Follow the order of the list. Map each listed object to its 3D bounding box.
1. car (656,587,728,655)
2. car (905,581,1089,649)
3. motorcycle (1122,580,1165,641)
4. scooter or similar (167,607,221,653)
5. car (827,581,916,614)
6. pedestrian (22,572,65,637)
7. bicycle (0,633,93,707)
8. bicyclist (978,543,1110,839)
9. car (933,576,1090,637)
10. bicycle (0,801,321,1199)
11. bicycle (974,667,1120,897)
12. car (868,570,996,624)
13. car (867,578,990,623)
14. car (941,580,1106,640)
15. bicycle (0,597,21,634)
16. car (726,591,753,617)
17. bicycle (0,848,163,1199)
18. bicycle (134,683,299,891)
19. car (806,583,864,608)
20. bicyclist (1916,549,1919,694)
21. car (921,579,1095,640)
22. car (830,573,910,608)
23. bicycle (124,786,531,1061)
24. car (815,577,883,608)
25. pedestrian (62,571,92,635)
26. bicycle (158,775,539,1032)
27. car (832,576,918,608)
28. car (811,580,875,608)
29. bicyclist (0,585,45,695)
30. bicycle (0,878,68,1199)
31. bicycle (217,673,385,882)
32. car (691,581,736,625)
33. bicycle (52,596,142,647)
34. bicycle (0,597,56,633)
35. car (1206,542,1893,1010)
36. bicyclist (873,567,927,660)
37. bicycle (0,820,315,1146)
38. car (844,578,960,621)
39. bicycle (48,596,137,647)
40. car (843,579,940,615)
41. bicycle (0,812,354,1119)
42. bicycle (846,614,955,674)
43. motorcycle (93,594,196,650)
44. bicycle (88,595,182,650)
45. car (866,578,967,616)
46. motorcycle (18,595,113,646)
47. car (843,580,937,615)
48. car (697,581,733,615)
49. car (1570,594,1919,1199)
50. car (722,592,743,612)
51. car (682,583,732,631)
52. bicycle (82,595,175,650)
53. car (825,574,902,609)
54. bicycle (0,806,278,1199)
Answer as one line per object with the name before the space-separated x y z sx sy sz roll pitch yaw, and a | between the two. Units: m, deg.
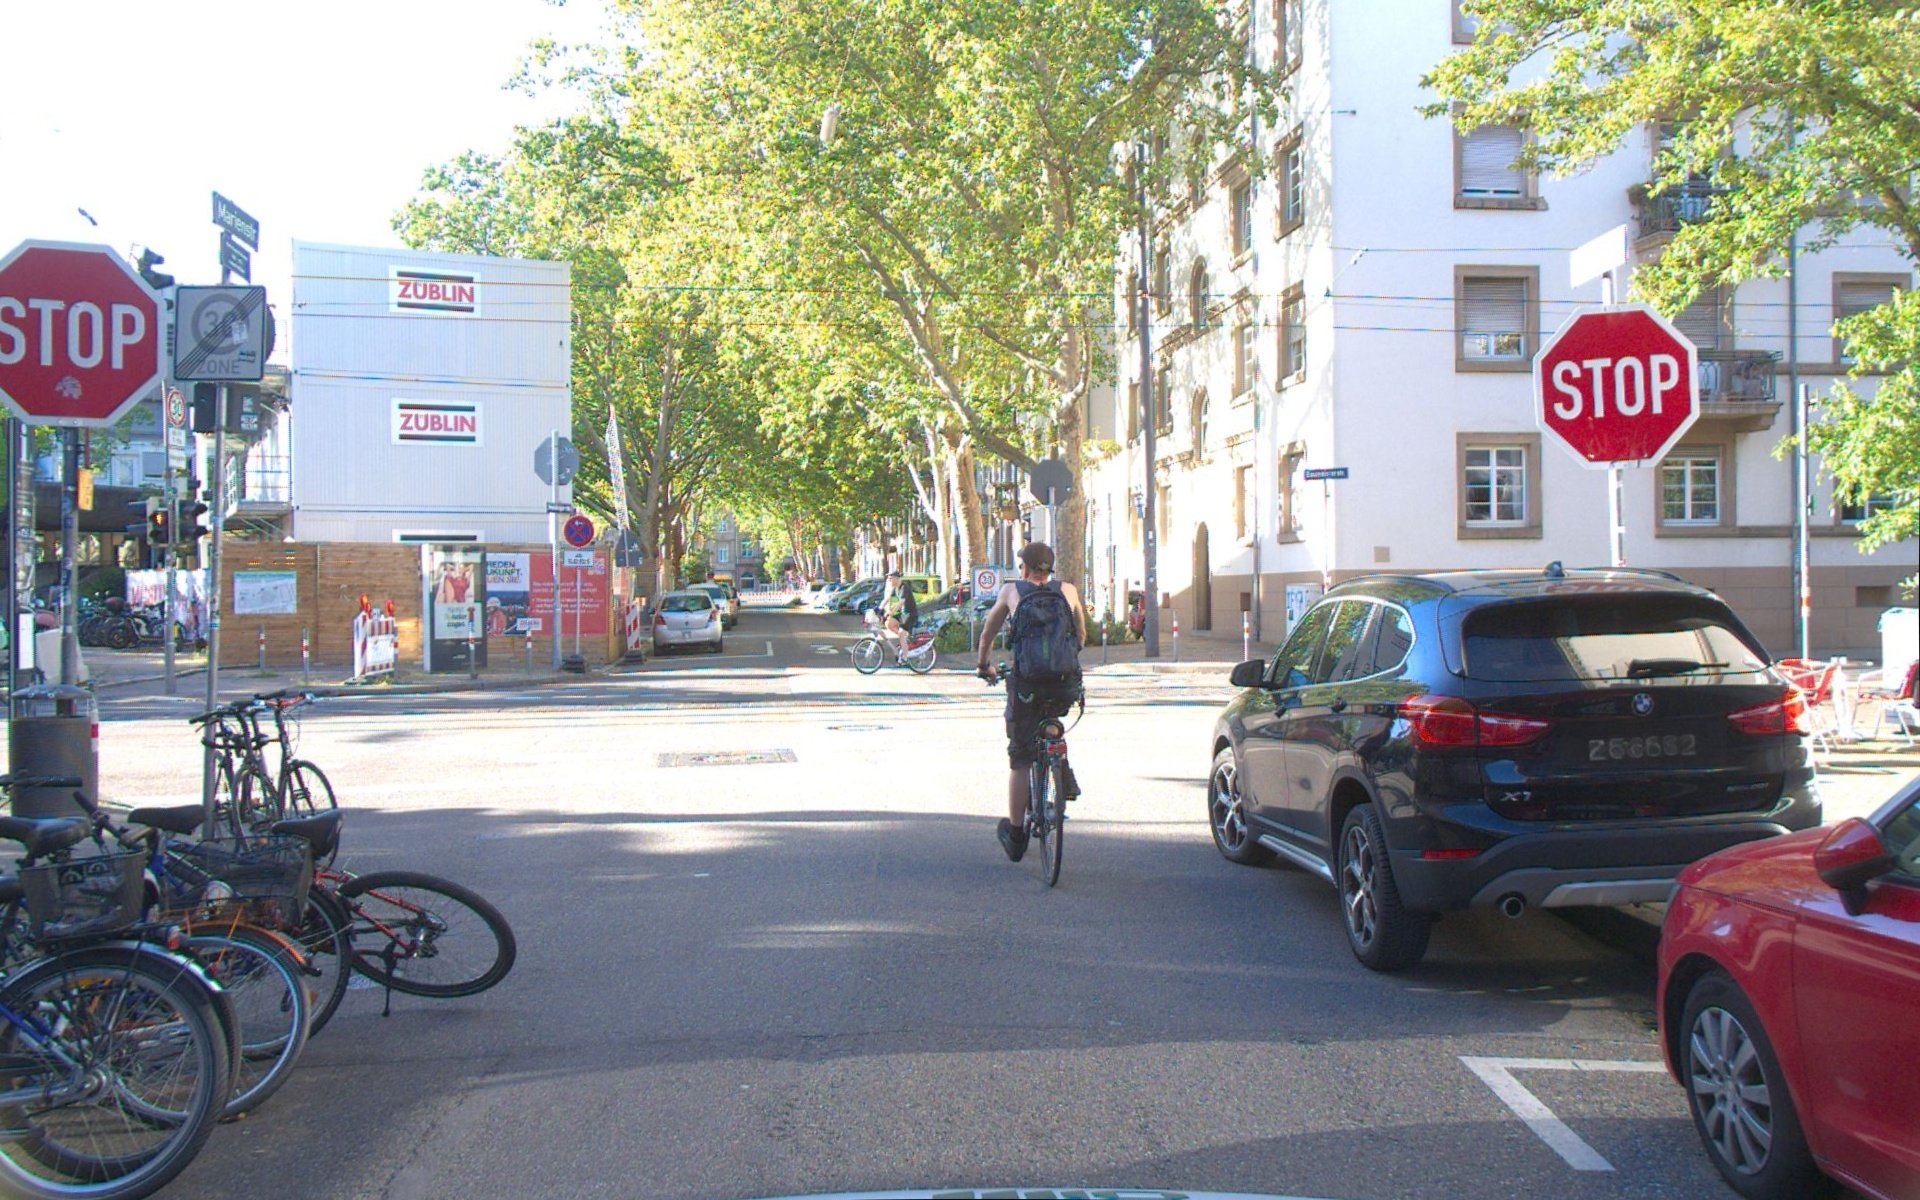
car | -6.659 0.484 41.125 1.613 1.520 3.992 -3 1 -9
car | 0.908 0.348 41.394 4.379 1.598 1.725 -1 0 -9
motorcycle | 4.159 0.219 37.656 0.504 1.356 1.759 -1 1 -10
scooter or similar | -18.384 0.702 39.710 0.376 1.038 1.489 0 1 11
car | -4.548 -0.153 84.758 4.379 1.598 1.725 -1 0 -9
pedestrian | -29.306 0.150 52.881 0.784 2.049 0.939 -1 1 3
bicycle | -14.807 1.077 25.508 2.376 1.112 0.894 -1 -1 -8
bicyclist | 0.444 0.475 8.993 0.662 1.539 0.668 1 0 -1
car | 1.486 0.173 48.442 4.379 1.700 1.725 -1 0 -9
bicycle | -2.722 1.097 4.544 1.732 0.978 0.427 -1 0 -9
bicycle | 0.438 0.937 9.090 0.675 1.034 1.907 1 0 -1
car | -1.010 -0.121 59.241 4.379 1.868 1.725 -1 0 -9
car | -1.176 0.000 61.251 4.379 1.598 1.725 -1 0 -9
car | 1.762 0.255 46.376 4.379 1.598 1.725 -1 0 -9
bicycle | -32.032 0.513 53.338 3.015 1.167 0.822 -1 1 1
car | -14.558 0.249 109.124 1.634 1.590 4.210 -1 1 -9
bicycle | -2.673 1.068 3.501 1.729 0.978 0.443 -1 0 -2
bicycle | -4.496 1.075 9.949 0.447 1.064 1.639 -1 1 -41
car | -9.764 -0.359 129.081 4.379 1.931 1.725 -1 0 -9
bicyclist | 11.715 0.255 19.582 0.638 1.717 0.543 0 -1 25
car | 1.248 0.240 43.917 4.379 1.526 1.725 -1 1 -9
car | -5.150 -0.559 94.389 4.379 1.931 1.725 -1 0 -9
bicycle | -2.200 1.120 5.848 1.285 0.832 0.354 -1 0 -11
car | -7.375 -0.509 109.784 4.379 1.931 1.725 -1 0 -9
pedestrian | -28.873 0.092 54.096 0.792 2.049 1.020 -1 1 -31
bicycle | -2.266 1.117 6.224 1.285 0.832 0.370 -1 0 -11
car | -4.476 -0.409 87.105 4.379 1.598 1.725 -1 0 -9
car | -8.276 -0.435 117.153 4.379 1.931 1.725 -1 0 -9
bicyclist | -14.885 0.616 25.508 1.076 1.668 0.894 -1 -1 -7
bicycle | -2.659 1.064 3.090 1.729 0.978 0.422 -1 0 -2
bicycle | -4.104 1.050 10.237 0.454 1.064 1.663 -1 3 -41
car | -9.370 0.091 62.782 1.634 1.590 4.509 -1 1 -9
bicycle | -22.658 0.550 43.456 0.534 1.279 2.036 1 2 44
bicycle | -32.498 0.522 56.247 3.015 1.167 0.822 -1 1 1
car | 2.470 0.634 8.122 1.725 1.691 4.195 1 0 -2
bicyclist | -1.114 0.239 30.616 0.799 1.687 0.677 -1 0 -26
bicycle | -2.690 1.158 5.000 1.285 0.832 0.381 -3 1 -11
car | -2.288 -0.024 65.068 4.379 1.598 1.725 -1 0 -9
bicycle | -23.023 0.551 43.917 0.534 1.279 2.036 1 2 44
car | -3.217 -0.139 77.642 4.379 1.598 1.725 -1 0 -9
bicycle | -2.739 1.181 5.373 1.362 0.832 0.361 -3 1 -11
bicycle | -1.099 0.805 30.625 1.891 1.036 0.677 -1 1 -26
motorcycle | -19.829 0.508 40.254 0.534 1.279 2.196 1 2 44
bicycle | -20.488 0.548 41.118 0.463 1.279 2.036 1 2 44
car | -1.965 -0.151 74.587 4.379 1.598 1.725 -1 0 -9
motorcycle | -24.056 0.532 44.514 0.534 1.279 2.196 1 2 44
car | -3.406 -0.143 80.110 4.379 1.598 1.725 -1 0 -9
car | -11.756 -0.123 79.332 1.634 1.590 4.606 -1 1 -9
car | 2.820 0.771 3.297 1.612 1.529 3.953 1 0 -2
car | -19.215 0.160 139.423 1.634 1.590 4.210 -1 1 -9
car | -8.748 0.216 57.117 1.634 1.590 3.992 -1 1 -9
bicycle | -20.830 0.549 41.442 0.463 1.279 2.036 1 2 44
car | -5.673 -0.509 97.078 4.379 1.931 1.725 -1 0 -9
bicycle | -2.674 1.073 4.112 1.734 0.978 0.480 -1 0 -13
